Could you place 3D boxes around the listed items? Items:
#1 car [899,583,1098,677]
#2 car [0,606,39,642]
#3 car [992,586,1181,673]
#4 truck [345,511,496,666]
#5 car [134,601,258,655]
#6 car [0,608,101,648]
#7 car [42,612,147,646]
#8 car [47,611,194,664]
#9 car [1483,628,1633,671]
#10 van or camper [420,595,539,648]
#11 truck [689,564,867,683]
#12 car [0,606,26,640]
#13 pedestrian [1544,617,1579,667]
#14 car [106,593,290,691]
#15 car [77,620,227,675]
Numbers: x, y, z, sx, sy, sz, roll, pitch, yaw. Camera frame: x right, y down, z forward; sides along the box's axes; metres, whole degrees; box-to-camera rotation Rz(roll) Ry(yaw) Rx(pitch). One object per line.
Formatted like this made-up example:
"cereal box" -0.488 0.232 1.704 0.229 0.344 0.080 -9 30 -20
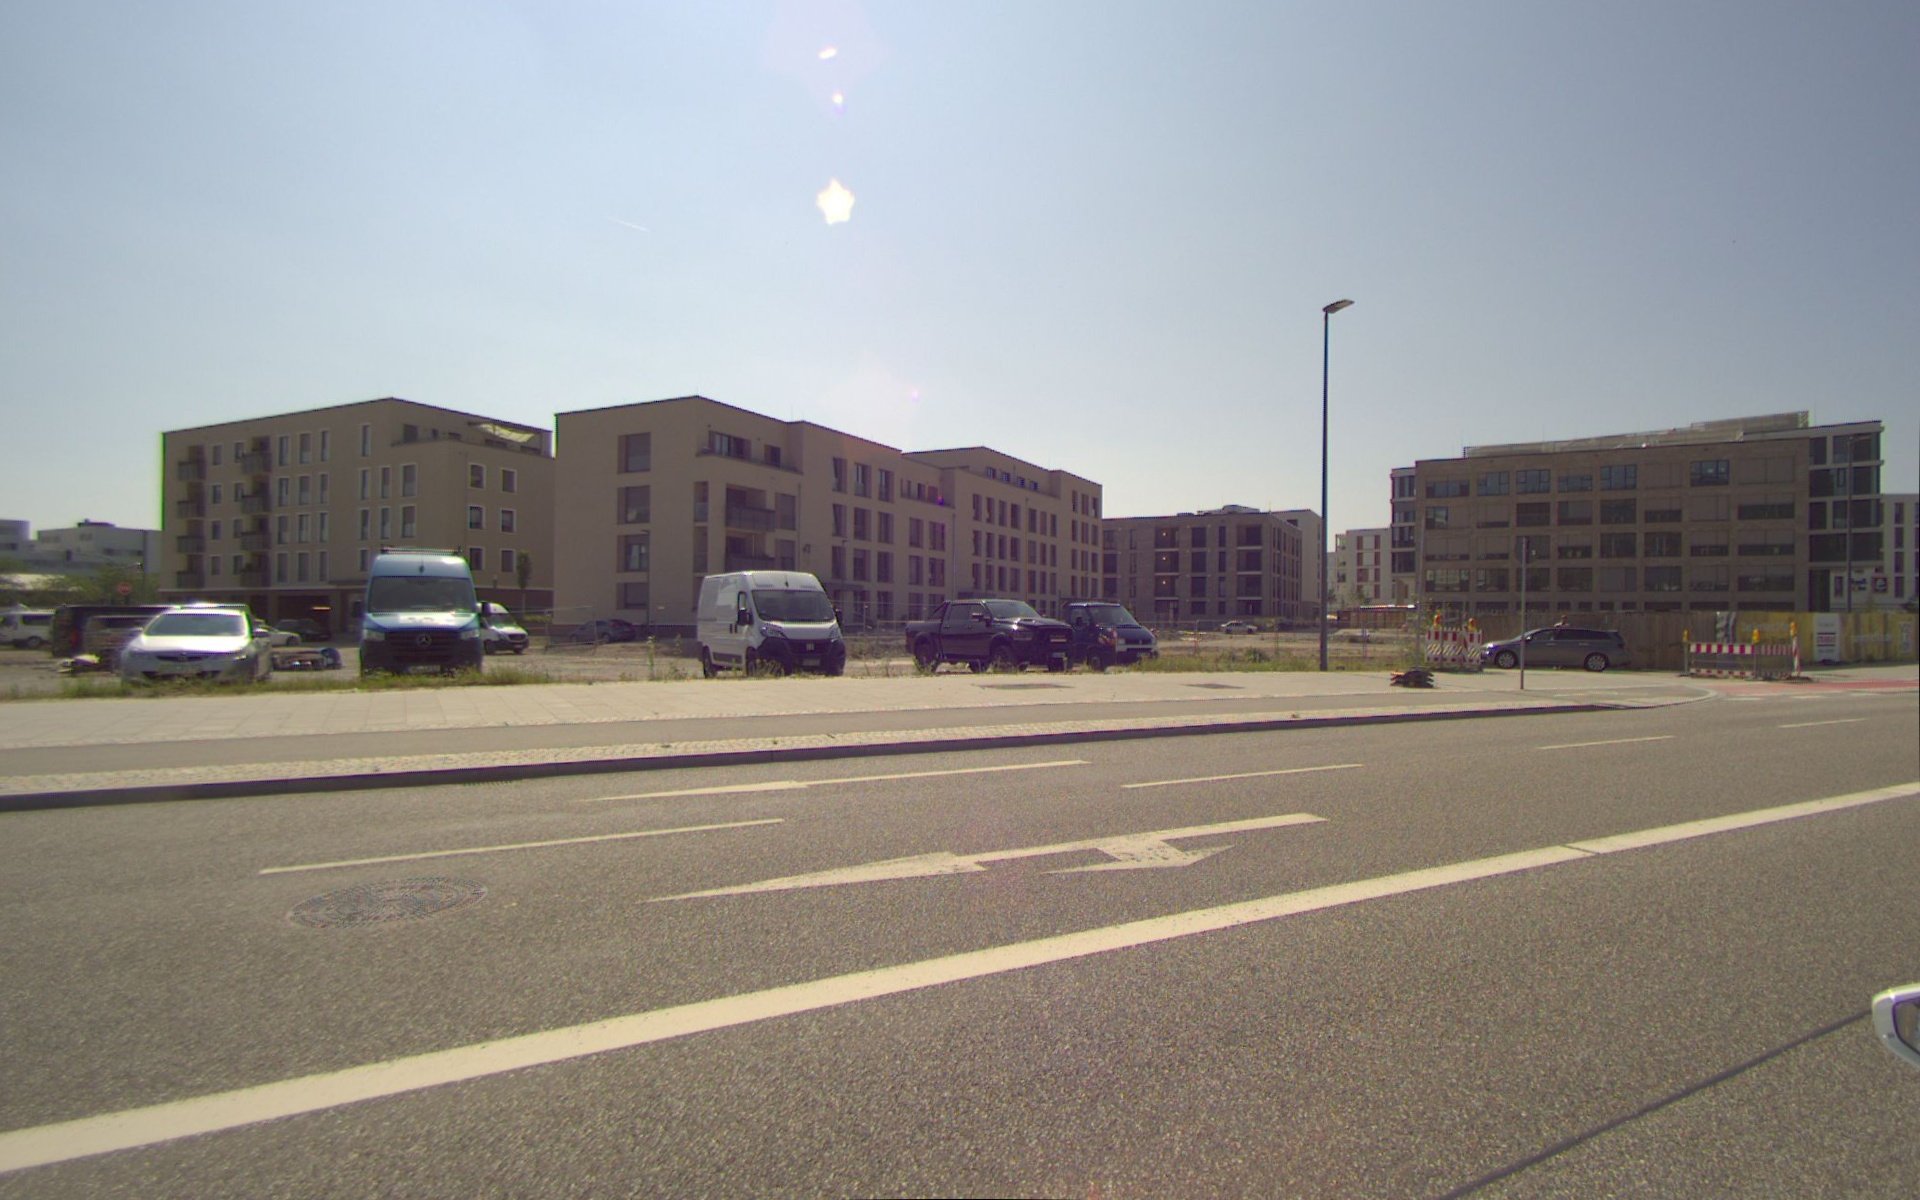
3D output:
"car" 0.849 0.780 26.579 2.369 2.194 5.849 1 -2 -33
"car" -56.143 1.373 58.004 1.965 2.040 3.991 1 0 31
"car" 3.382 0.807 28.130 2.370 2.202 5.412 1 -1 -33
"truck" -10.779 -0.123 19.807 2.250 2.577 5.973 1 -1 -32
"car" -34.264 1.194 45.180 1.962 2.271 3.997 1 0 25
"car" -50.158 1.504 55.295 1.965 2.040 3.991 1 0 31
"car" -47.514 1.579 55.220 1.965 1.810 3.992 0 -1 31
"car" -32.765 1.408 39.318 1.965 1.873 3.991 1 0 31
"car" 20.118 1.650 34.008 4.168 1.335 1.998 0 -1 26
"van or camper" -24.508 1.091 51.221 5.812 2.592 1.936 0 -1 20
"truck" -4.358 0.546 23.184 2.249 2.394 5.539 1 -1 -31
"car" -59.928 1.403 61.240 1.965 2.040 3.992 -2 -3 31
"pedestrian" 21.206 1.482 35.429 0.742 1.706 0.686 2 0 -10
"car" -13.620 0.708 18.307 2.083 1.493 5.621 1 -2 -31
"car" -30.367 1.718 37.863 1.965 1.873 3.991 1 0 31
